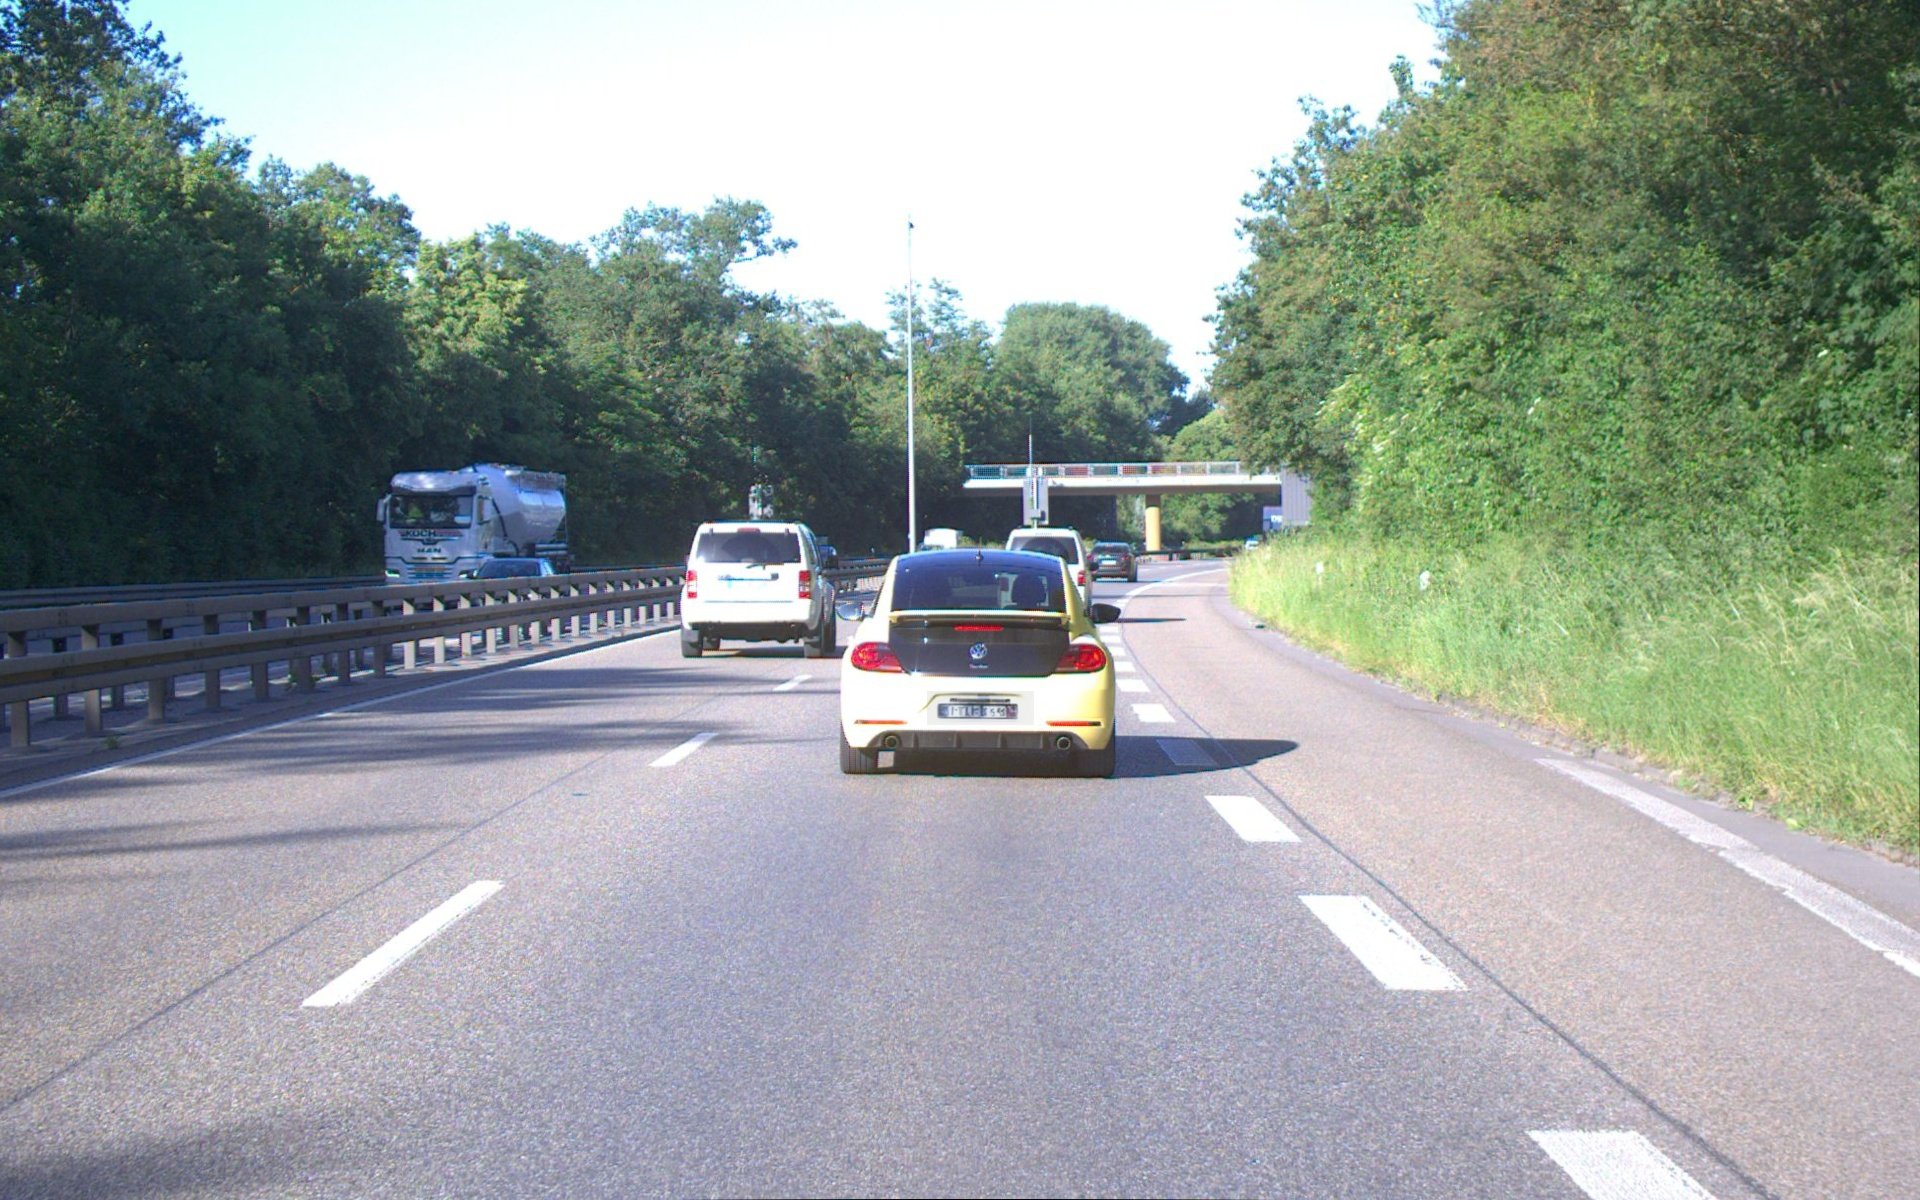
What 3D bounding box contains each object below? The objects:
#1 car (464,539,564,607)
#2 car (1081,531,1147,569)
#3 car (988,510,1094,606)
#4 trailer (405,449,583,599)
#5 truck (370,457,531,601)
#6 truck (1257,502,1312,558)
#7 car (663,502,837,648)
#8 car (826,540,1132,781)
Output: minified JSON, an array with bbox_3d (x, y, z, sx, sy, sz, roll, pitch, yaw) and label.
[{"bbox_3d":[-9.979,-0.624,77.223,1.666,1.462,4.092,-1,1,0],"label":"car"},{"bbox_3d":[5.835,-1.904,129.816,1.994,1.393,3.999,0,1,10],"label":"car"},{"bbox_3d":[1.603,-0.823,66.424,1.864,1.764,4.469,-1,1,3],"label":"car"},{"bbox_3d":[-13.108,-2.154,97.713,3.053,3.983,10.972,-1,1,2],"label":"trailer"},{"bbox_3d":[-13.384,-1.872,90.773,2.981,3.617,6.155,-1,1,3],"label":"truck"},{"bbox_3d":[24.929,-5.339,263.549,3.497,4.158,8.858,0,1,10],"label":"truck"},{"bbox_3d":[-2.745,-0.357,45.728,2.085,1.822,4.000,-1,1,-1],"label":"car"},{"bbox_3d":[0.093,0.339,23.642,1.879,1.456,4.356,1,1,-1],"label":"car"}]
